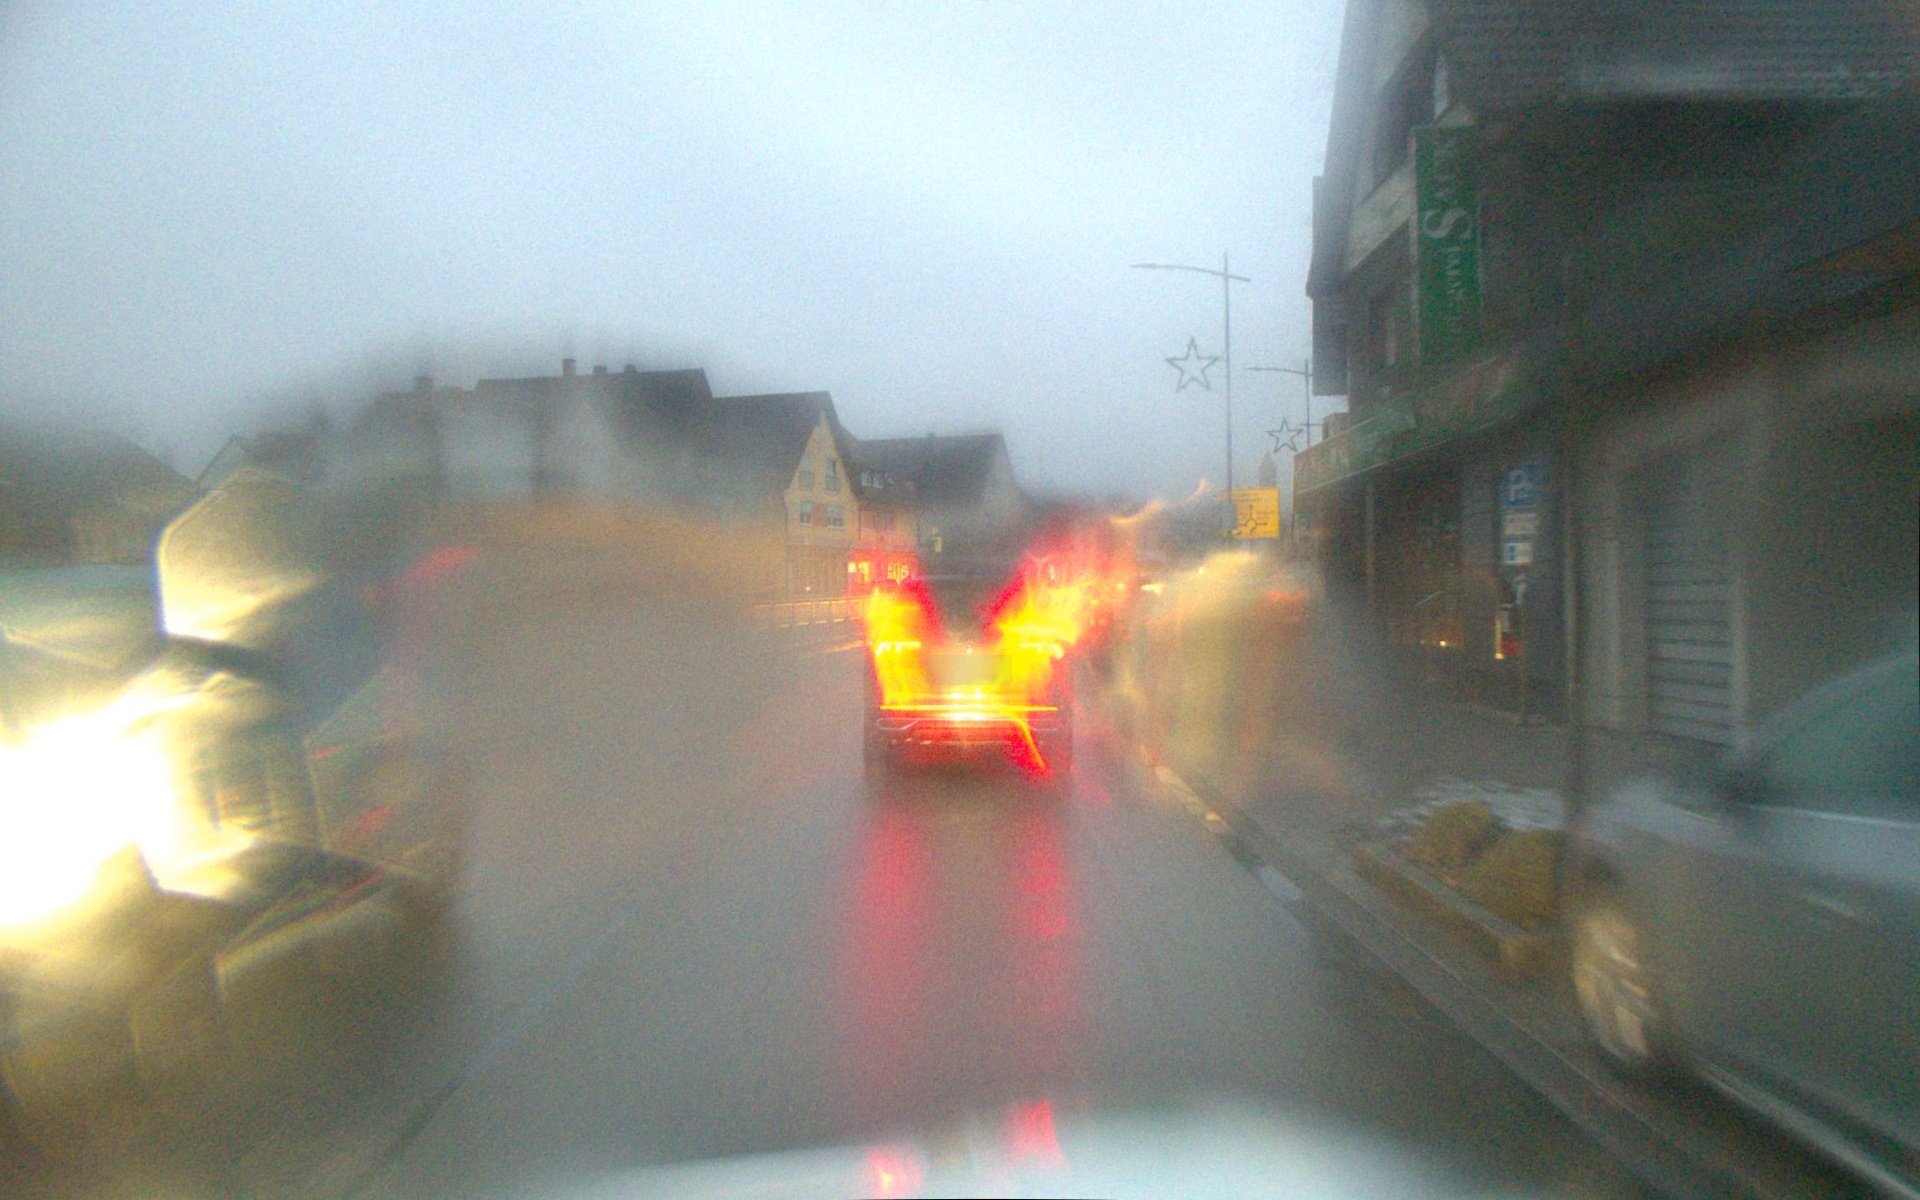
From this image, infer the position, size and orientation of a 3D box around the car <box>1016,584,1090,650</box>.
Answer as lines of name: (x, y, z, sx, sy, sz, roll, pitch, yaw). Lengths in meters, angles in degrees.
car: (2.211, 0.373, 39.933, 1.647, 1.478, 4.001, 2, 0, 2)

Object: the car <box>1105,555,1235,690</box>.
car: (3.189, 0.288, 25.416, 1.732, 1.813, 4.003, -4, 0, 6)

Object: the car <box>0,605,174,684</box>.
car: (-19.518, 0.950, 36.466, 1.834, 1.458, 4.505, -3, 1, 6)

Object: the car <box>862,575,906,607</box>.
car: (-4.107, -0.509, 88.584, 1.789, 1.641, 4.047, -1, 1, -10)

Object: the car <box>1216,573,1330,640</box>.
car: (7.360, 0.125, 39.263, 1.730, 1.418, 3.912, -3, 1, -3)

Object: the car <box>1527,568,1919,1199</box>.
car: (2.793, 0.679, 3.498, 1.619, 1.480, 4.237, -3, 0, -1)

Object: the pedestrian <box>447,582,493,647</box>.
pedestrian: (-13.930, 0.405, 47.066, 0.908, 1.815, 0.974, 0, 1, 12)

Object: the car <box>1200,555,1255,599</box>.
car: (13.591, -1.173, 83.858, 2.112, 2.025, 4.503, -4, 0, 16)

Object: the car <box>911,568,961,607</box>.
car: (-1.320, -0.689, 87.961, 2.001, 1.959, 4.047, -1, 1, -10)

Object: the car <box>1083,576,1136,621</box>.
car: (5.186, -0.080, 57.607, 1.776, 1.436, 4.003, 0, 2, 5)

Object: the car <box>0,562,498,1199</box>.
car: (-2.997, 0.658, 5.795, 1.697, 1.563, 3.780, 2, 0, -1)

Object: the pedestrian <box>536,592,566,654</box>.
pedestrian: (-11.552, 0.634, 46.719, 0.649, 1.727, 0.542, 0, 1, 12)

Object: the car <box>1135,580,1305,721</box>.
car: (3.011, 0.543, 19.605, 1.611, 1.440, 2.728, -3, 1, 2)

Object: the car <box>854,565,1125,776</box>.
car: (0.106, 0.511, 15.264, 1.927, 1.622, 4.307, 0, 2, -7)

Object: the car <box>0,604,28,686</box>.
car: (-20.134, 0.974, 31.512, 1.834, 1.600, 4.505, -3, 1, 6)

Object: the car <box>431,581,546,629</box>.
car: (-18.621, 0.182, 65.441, 3.902, 1.723, 1.866, -2, 1, 8)
